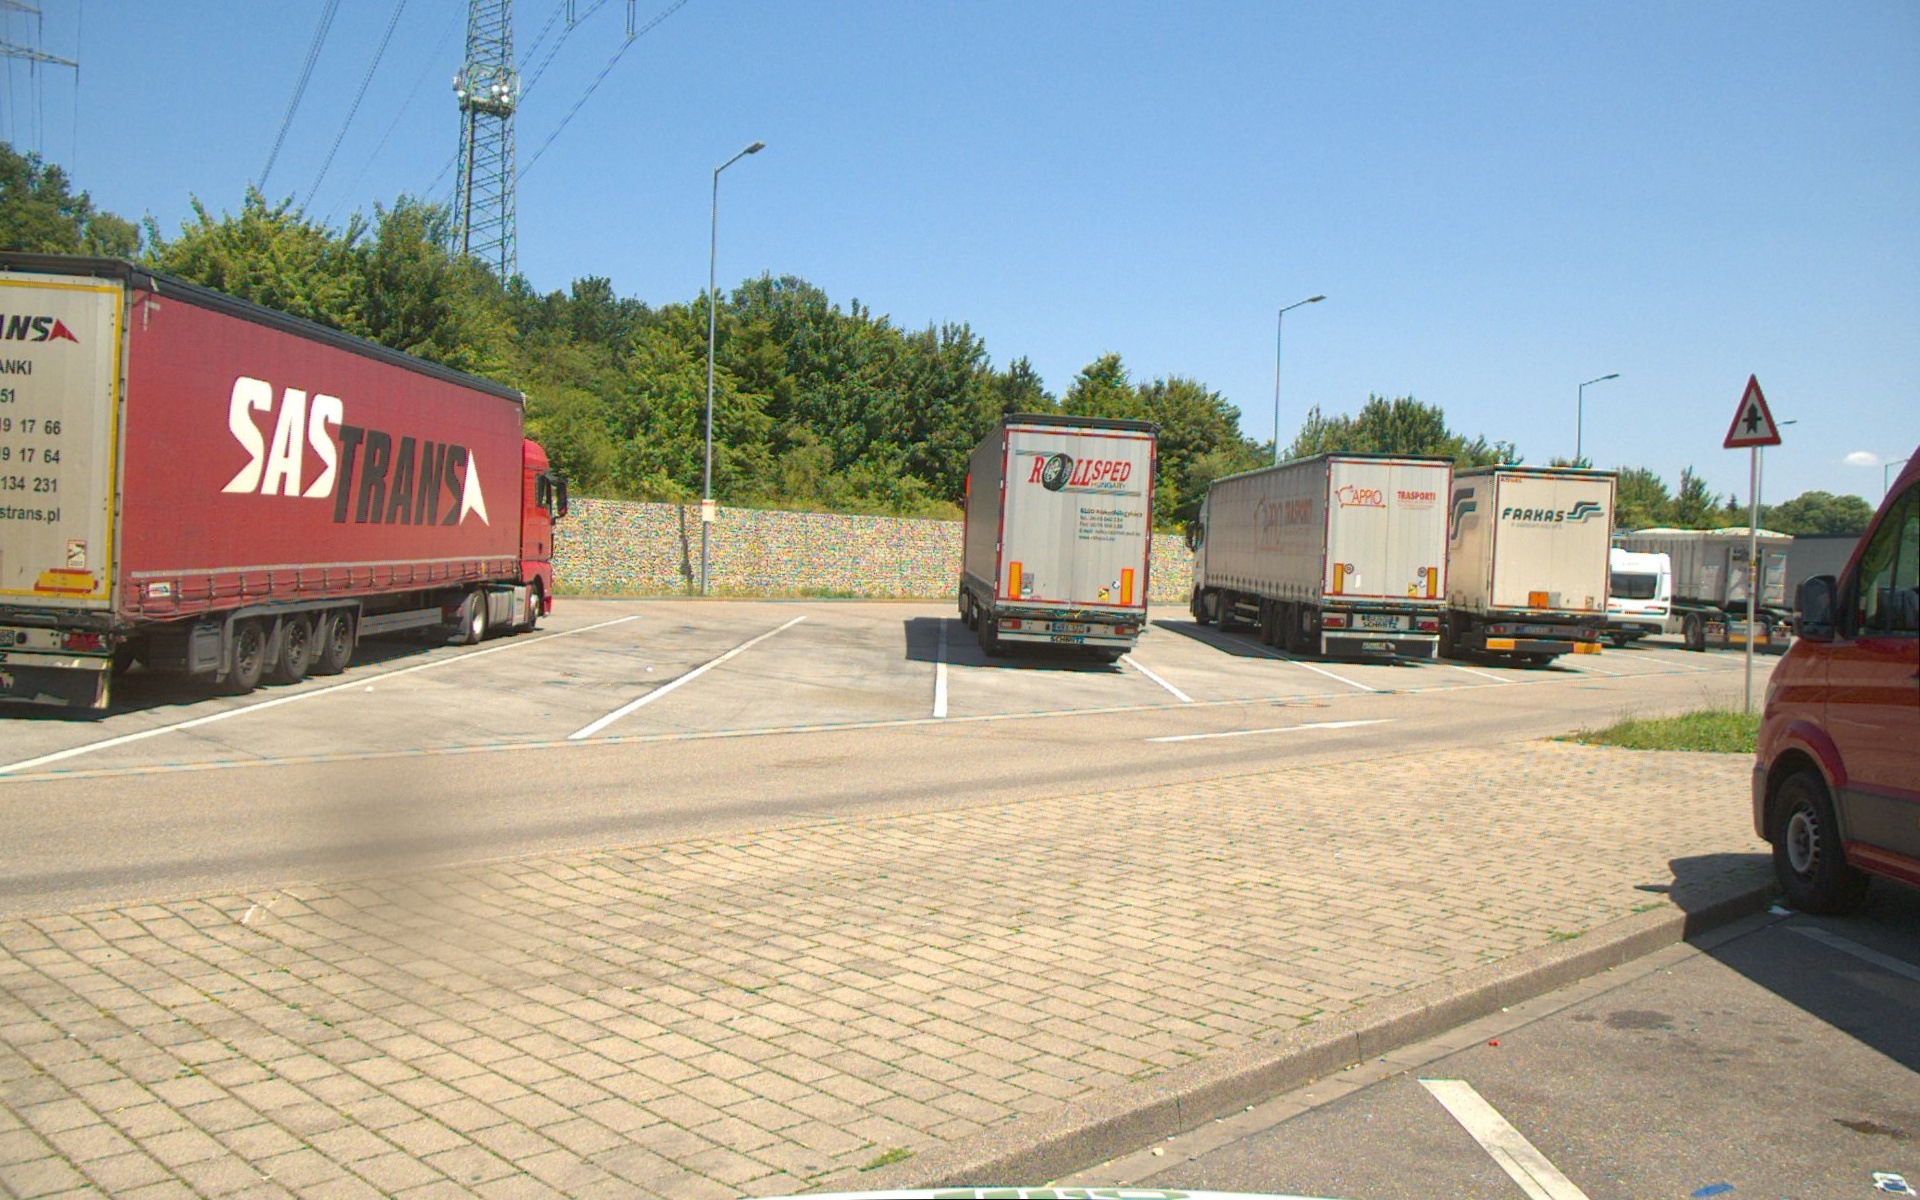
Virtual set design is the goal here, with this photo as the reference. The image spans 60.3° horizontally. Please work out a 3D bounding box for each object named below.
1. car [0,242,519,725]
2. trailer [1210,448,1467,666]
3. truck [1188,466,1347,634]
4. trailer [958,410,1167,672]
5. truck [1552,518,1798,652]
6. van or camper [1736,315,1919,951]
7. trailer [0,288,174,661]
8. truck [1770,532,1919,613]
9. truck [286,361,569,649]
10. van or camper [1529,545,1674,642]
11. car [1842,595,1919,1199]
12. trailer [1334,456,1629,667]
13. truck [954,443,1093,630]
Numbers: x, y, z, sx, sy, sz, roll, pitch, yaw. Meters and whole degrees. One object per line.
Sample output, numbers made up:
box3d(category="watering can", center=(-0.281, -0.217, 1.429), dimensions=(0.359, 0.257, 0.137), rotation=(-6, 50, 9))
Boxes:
box3d(category="car", center=(-8.687, -1.283, 20.964), dimensions=(2.641, 4.184, 12.935), rotation=(2, 2, 0))
box3d(category="trailer", center=(8.233, -1.093, 38.111), dimensions=(2.808, 4.107, 12.438), rotation=(2, 2, -1))
box3d(category="truck", center=(8.153, -1.389, 44.742), dimensions=(2.808, 4.107, 6.956), rotation=(2, 2, -1))
box3d(category="trailer", center=(1.641, -1.243, 33.675), dimensions=(2.809, 4.107, 14.238), rotation=(2, 2, -2))
box3d(category="truck", center=(21.733, -0.653, 51.252), dimensions=(2.437, 3.630, 11.423), rotation=(2, 2, -1))
box3d(category="van or camper", center=(4.980, 0.173, 5.565), dimensions=(1.954, 2.700, 6.482), rotation=(1, 1, 3))
box3d(category="trailer", center=(-12.557, -1.408, 17.165), dimensions=(2.756, 4.341, 12.940), rotation=(2, 2, -1))
box3d(category="truck", center=(34.686, -1.072, 63.646), dimensions=(2.082, 2.869, 9.777), rotation=(1, 1, -1))
box3d(category="truck", center=(-8.709, -1.532, 27.882), dimensions=(2.641, 4.184, 6.239), rotation=(2, 2, 0))
box3d(category="van or camper", center=(18.253, -0.226, 47.355), dimensions=(2.061, 2.606, 5.372), rotation=(1, 1, 0))
box3d(category="car", center=(2.531, 0.794, 1.118), dimensions=(1.584, 1.509, 3.762), rotation=(1, 1, -6))
box3d(category="trailer", center=(11.809, -1.027, 39.229), dimensions=(2.808, 4.107, 12.438), rotation=(2, 2, -1))
box3d(category="truck", center=(1.410, -1.570, 40.756), dimensions=(2.809, 4.107, 7.026), rotation=(2, 2, -2))
